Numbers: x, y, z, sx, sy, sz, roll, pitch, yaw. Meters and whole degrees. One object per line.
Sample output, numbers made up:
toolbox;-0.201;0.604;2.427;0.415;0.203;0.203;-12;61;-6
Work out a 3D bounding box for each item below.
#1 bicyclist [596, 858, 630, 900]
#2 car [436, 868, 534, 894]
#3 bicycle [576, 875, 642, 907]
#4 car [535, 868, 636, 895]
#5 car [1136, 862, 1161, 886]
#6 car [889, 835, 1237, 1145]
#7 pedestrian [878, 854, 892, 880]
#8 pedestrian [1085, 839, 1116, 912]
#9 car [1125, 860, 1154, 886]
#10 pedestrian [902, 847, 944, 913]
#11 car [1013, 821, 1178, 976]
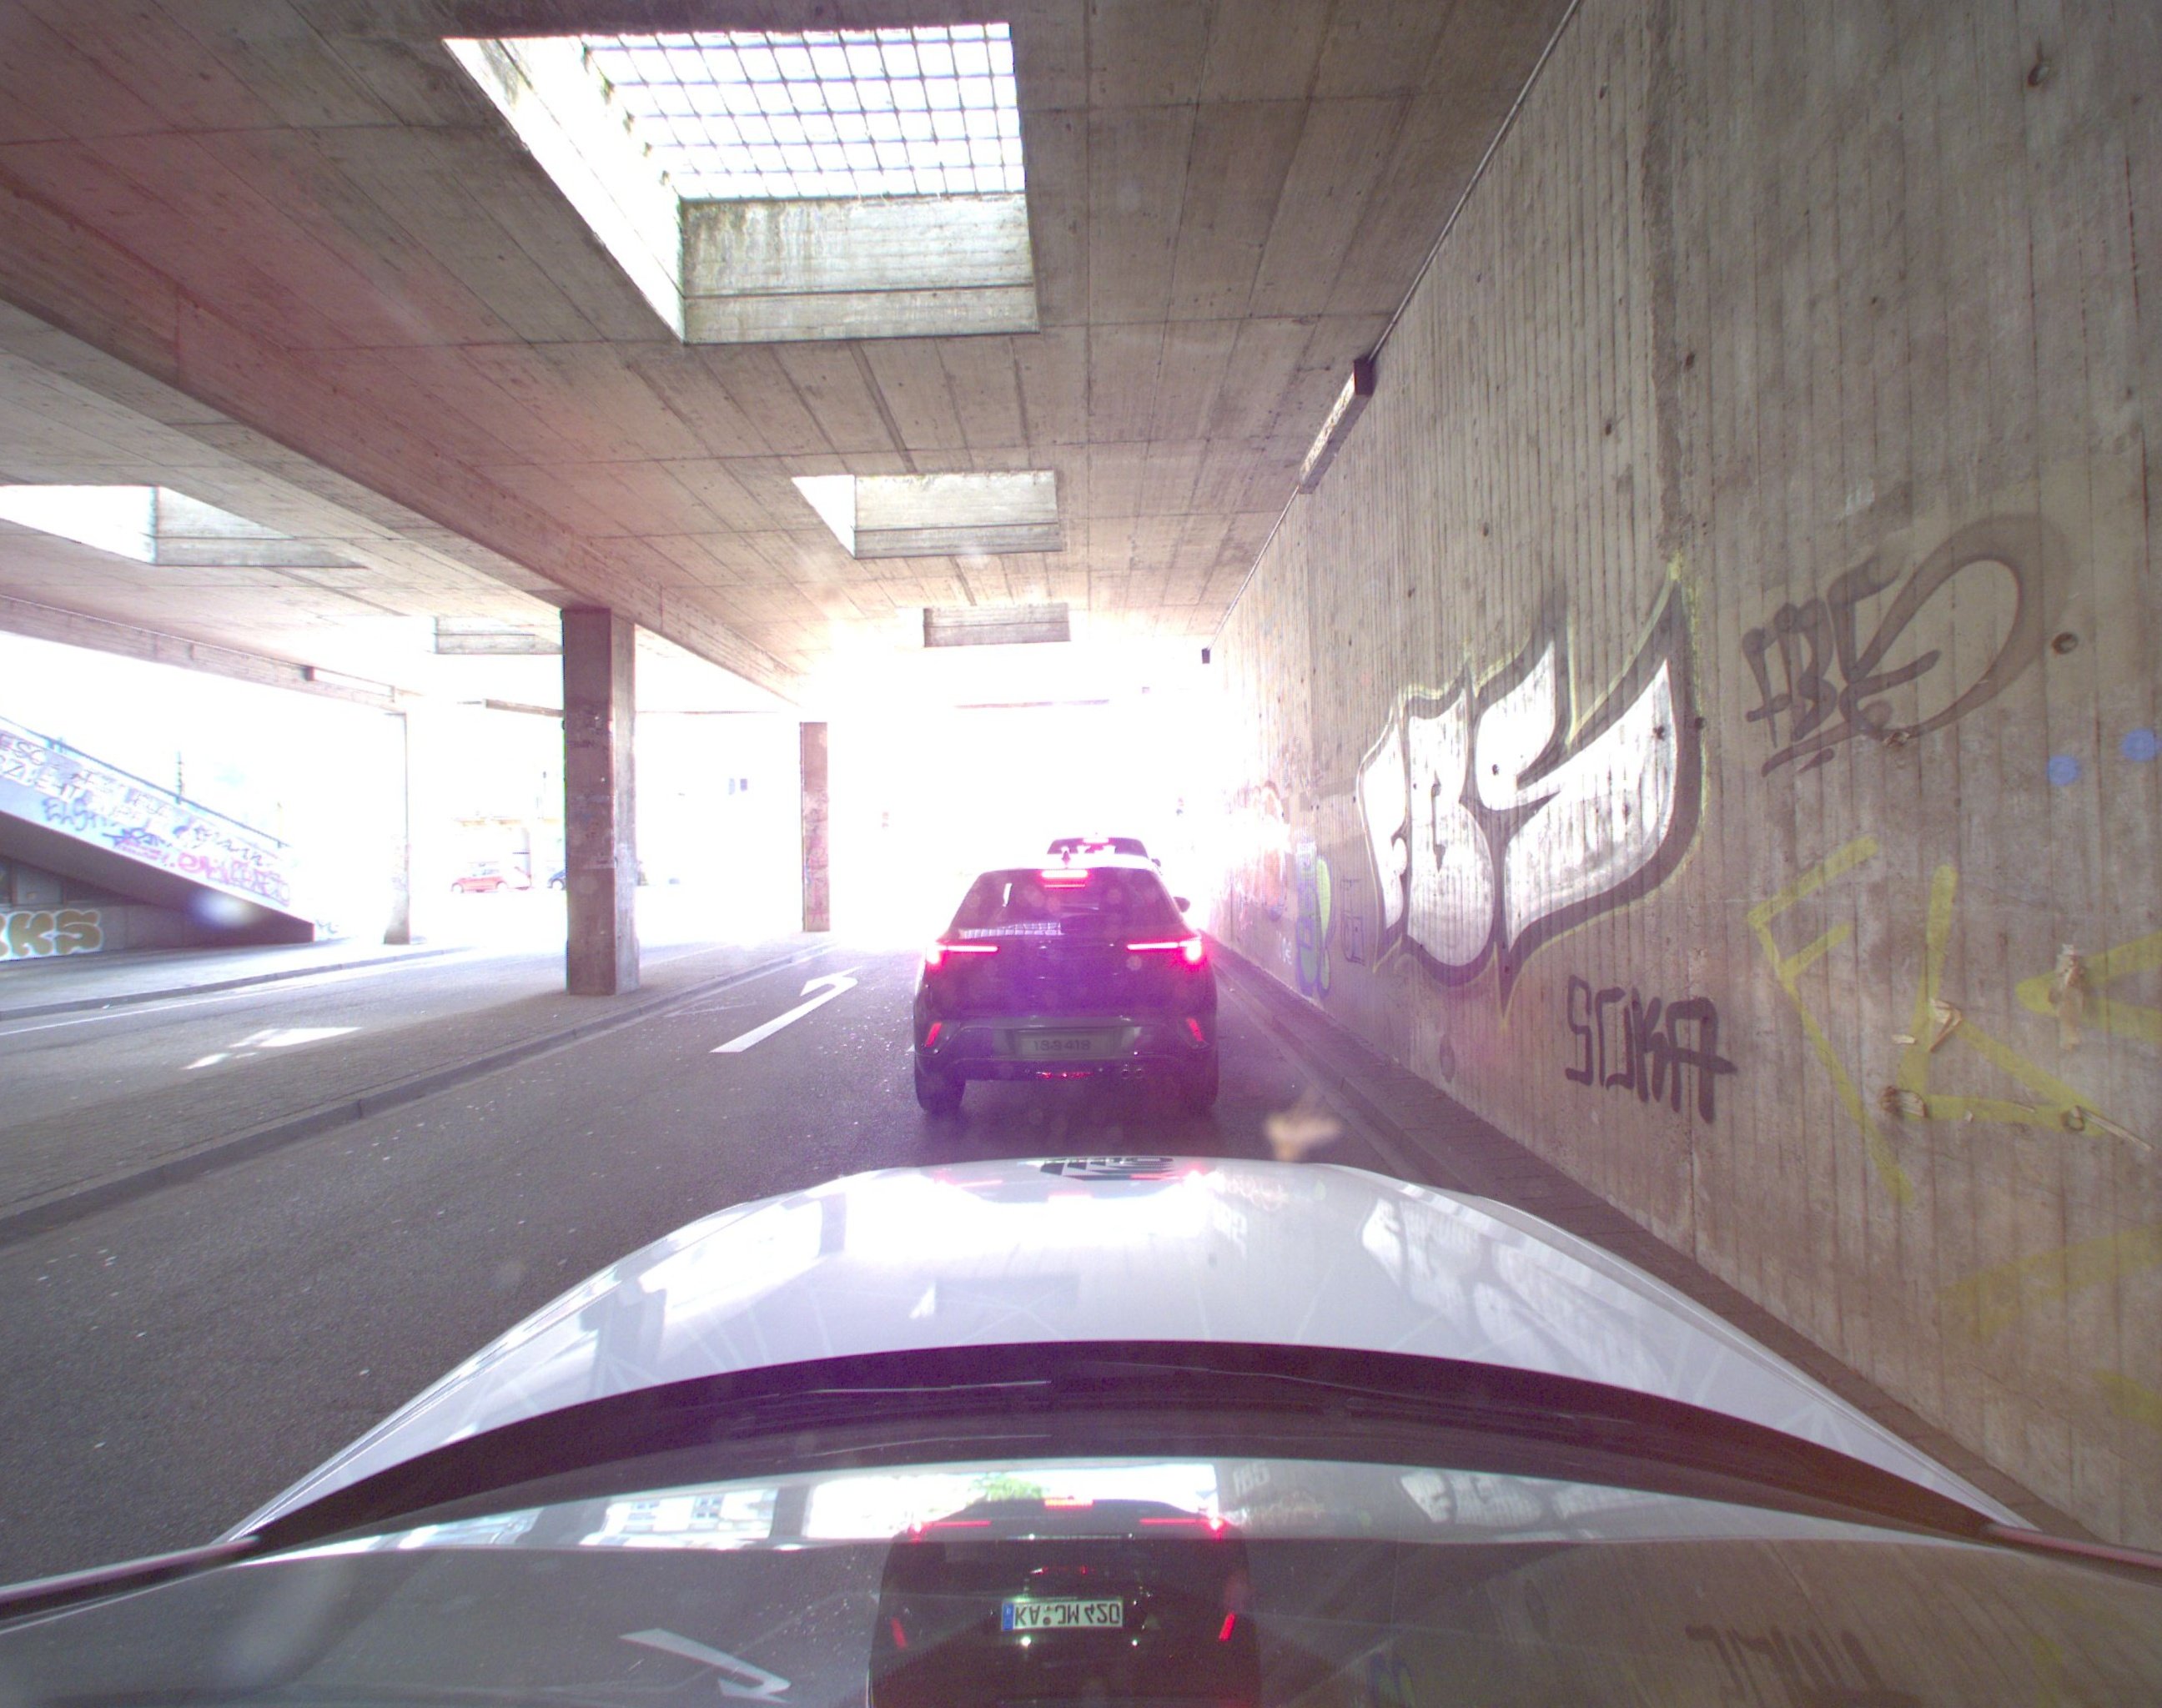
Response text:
bicyclist;-16.579;0.873;28.862;0.733;1.423;0.686;-3;-1;8
car;-33.015;1.483;45.226;3.975;1.409;1.925;0;-1;-1
bicycle;-16.721;1.304;28.881;1.978;1.050;0.720;-2;-1;8
car;-27.393;1.518;45.108;4.393;1.409;1.925;0;-1;-1
car;5.710;1.654;68.452;1.983;1.970;4.172;-1;-1;7
car;-0.030;0.658;6.147;1.758;1.571;4.002;-1;1;2
pedestrian;-12.194;0.797;50.671;0.669;1.637;0.741;-1;-1;1
pedestrian;0.474;0.518;19.953;0.728;1.734;0.874;-1;-1;1
car;4.507;1.423;62.268;1.983;1.970;4.172;-1;-1;7
pedestrian;-4.246;0.693;21.970;0.925;1.762;0.795;-1;-1;3
car;0.244;0.546;12.120;1.986;1.871;4.002;-2;0;2
